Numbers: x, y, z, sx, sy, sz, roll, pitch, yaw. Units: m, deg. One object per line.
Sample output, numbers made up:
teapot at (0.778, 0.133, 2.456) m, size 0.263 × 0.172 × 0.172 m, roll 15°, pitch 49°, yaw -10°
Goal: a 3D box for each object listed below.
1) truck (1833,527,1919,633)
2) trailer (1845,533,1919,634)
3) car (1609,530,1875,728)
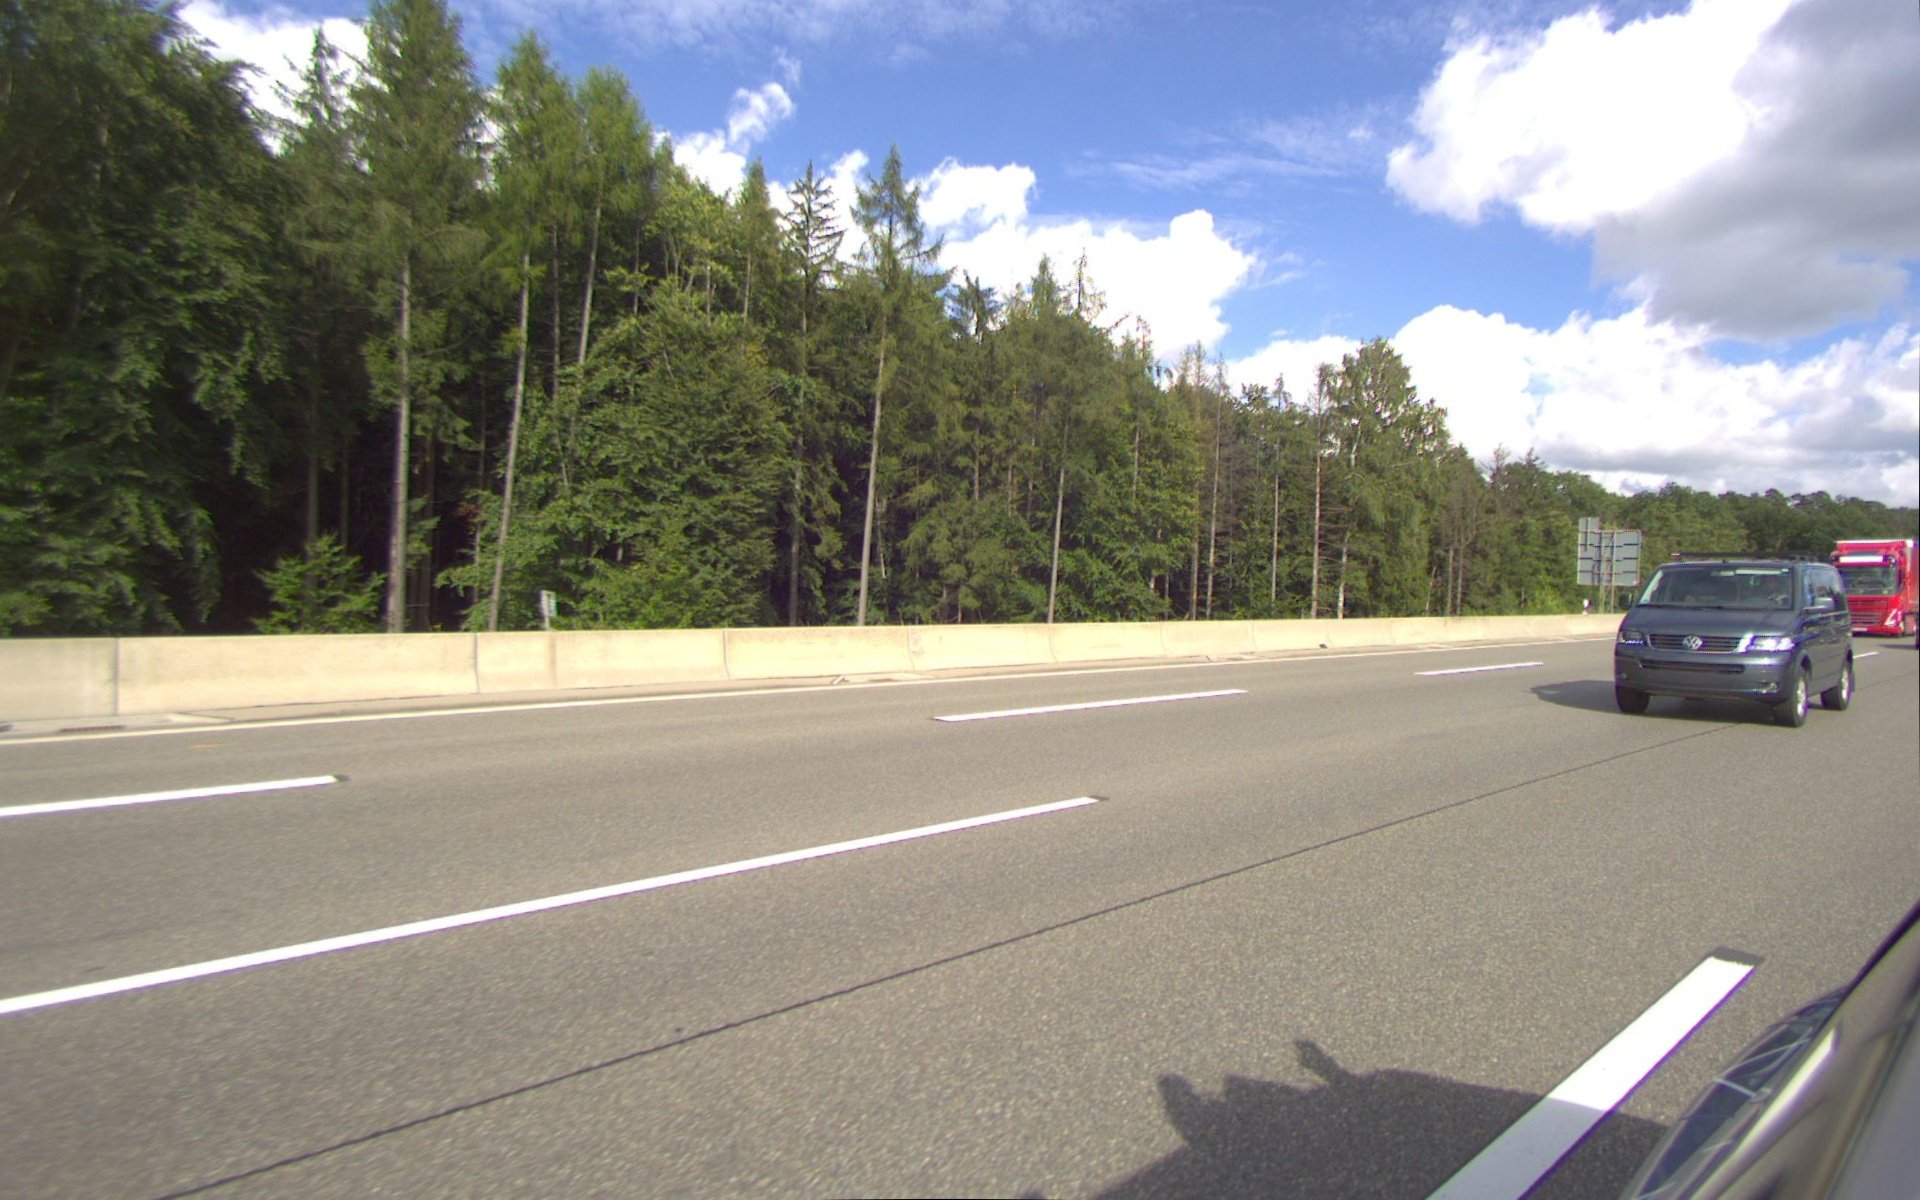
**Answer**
truck at (39.361, -0.861, 43.101) m, size 4.570 × 4.255 × 2.531 m, roll -1°, pitch 1°, yaw -40°
trailer at (44.742, -0.786, 47.522) m, size 14.120 × 4.171 × 2.530 m, roll -1°, pitch 1°, yaw -40°
car at (10.564, 0.300, 13.517) m, size 4.875 × 2.193 × 1.925 m, roll 0°, pitch 1°, yaw -42°
